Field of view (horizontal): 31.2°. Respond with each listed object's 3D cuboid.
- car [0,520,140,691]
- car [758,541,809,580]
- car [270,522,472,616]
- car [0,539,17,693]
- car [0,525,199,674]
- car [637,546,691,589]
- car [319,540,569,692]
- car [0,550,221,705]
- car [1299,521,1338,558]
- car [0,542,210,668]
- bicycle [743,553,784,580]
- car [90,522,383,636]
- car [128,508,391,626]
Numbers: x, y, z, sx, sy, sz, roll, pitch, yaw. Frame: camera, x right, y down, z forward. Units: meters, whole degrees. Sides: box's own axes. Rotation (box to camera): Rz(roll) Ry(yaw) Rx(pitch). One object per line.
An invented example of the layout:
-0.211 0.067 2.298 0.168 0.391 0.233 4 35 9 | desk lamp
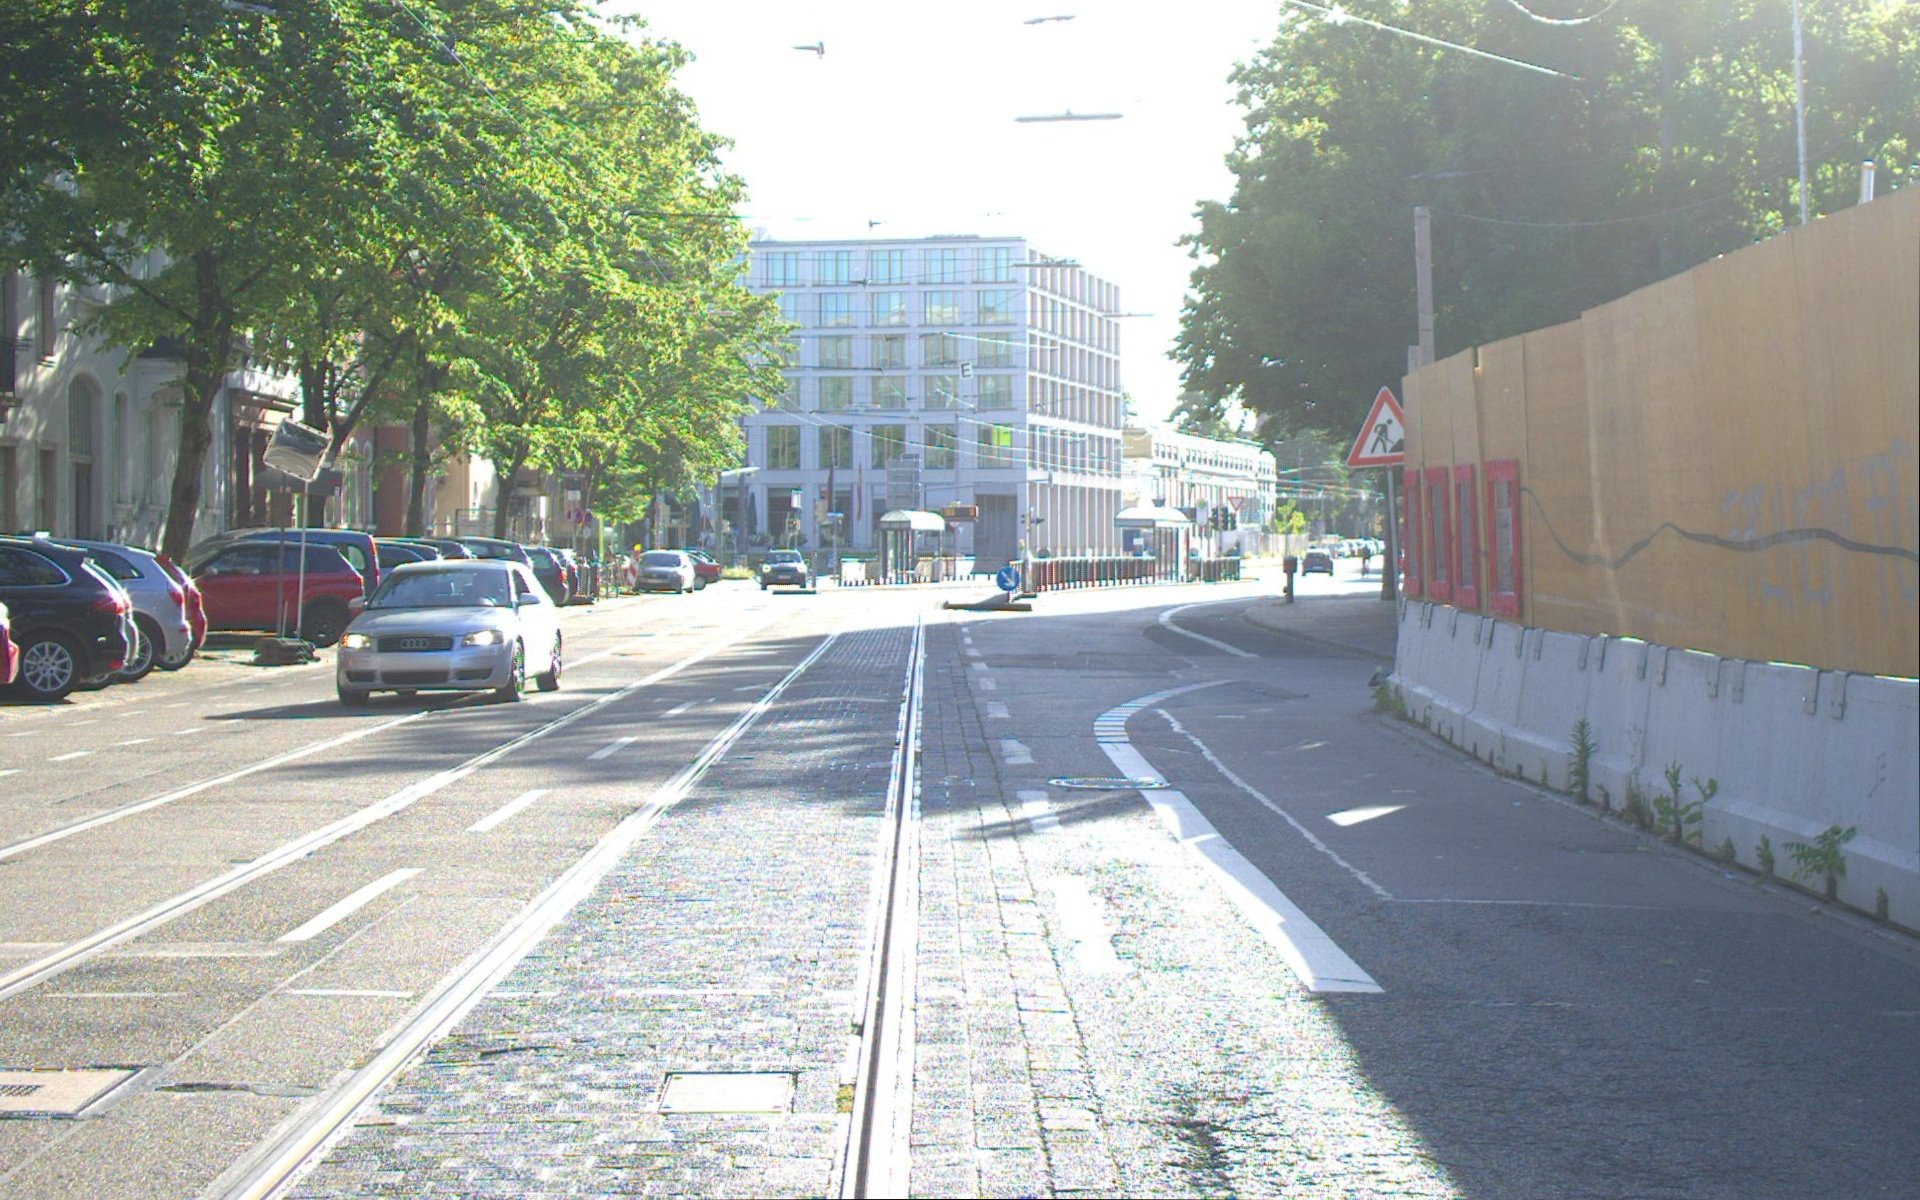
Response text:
-10.408 0.050 34.961 3.674 1.715 1.611 -1 1 -35 | car
-7.033 -1.581 136.984 1.558 1.525 4.000 0 1 4 | car
-10.824 -0.575 63.194 3.372 1.692 1.405 0 1 -28 | car
-10.980 0.105 31.999 3.901 1.448 1.638 1 0 -34 | car
-11.032 -0.027 40.530 3.674 1.715 1.611 -1 1 -35 | car
-10.302 -1.151 119.819 1.573 1.485 4.000 0 1 0 | car
-5.141 0.121 34.733 1.709 1.431 4.171 0 1 3 | car
-10.184 0.280 38.012 3.555 1.656 1.738 -1 1 -33 | car
19.903 -3.362 190.830 1.994 2.007 3.999 0 1 8 | car
-11.418 0.041 43.050 3.674 1.522 1.483 -1 1 -35 | car
-8.807 -1.504 153.885 1.793 1.219 0.599 0 1 -8 | bicycle
-11.220 -0.333 53.370 4.159 1.715 1.584 0 1 -27 | car
-11.493 -0.534 56.435 3.828 1.826 1.732 1 0 -30 | car
